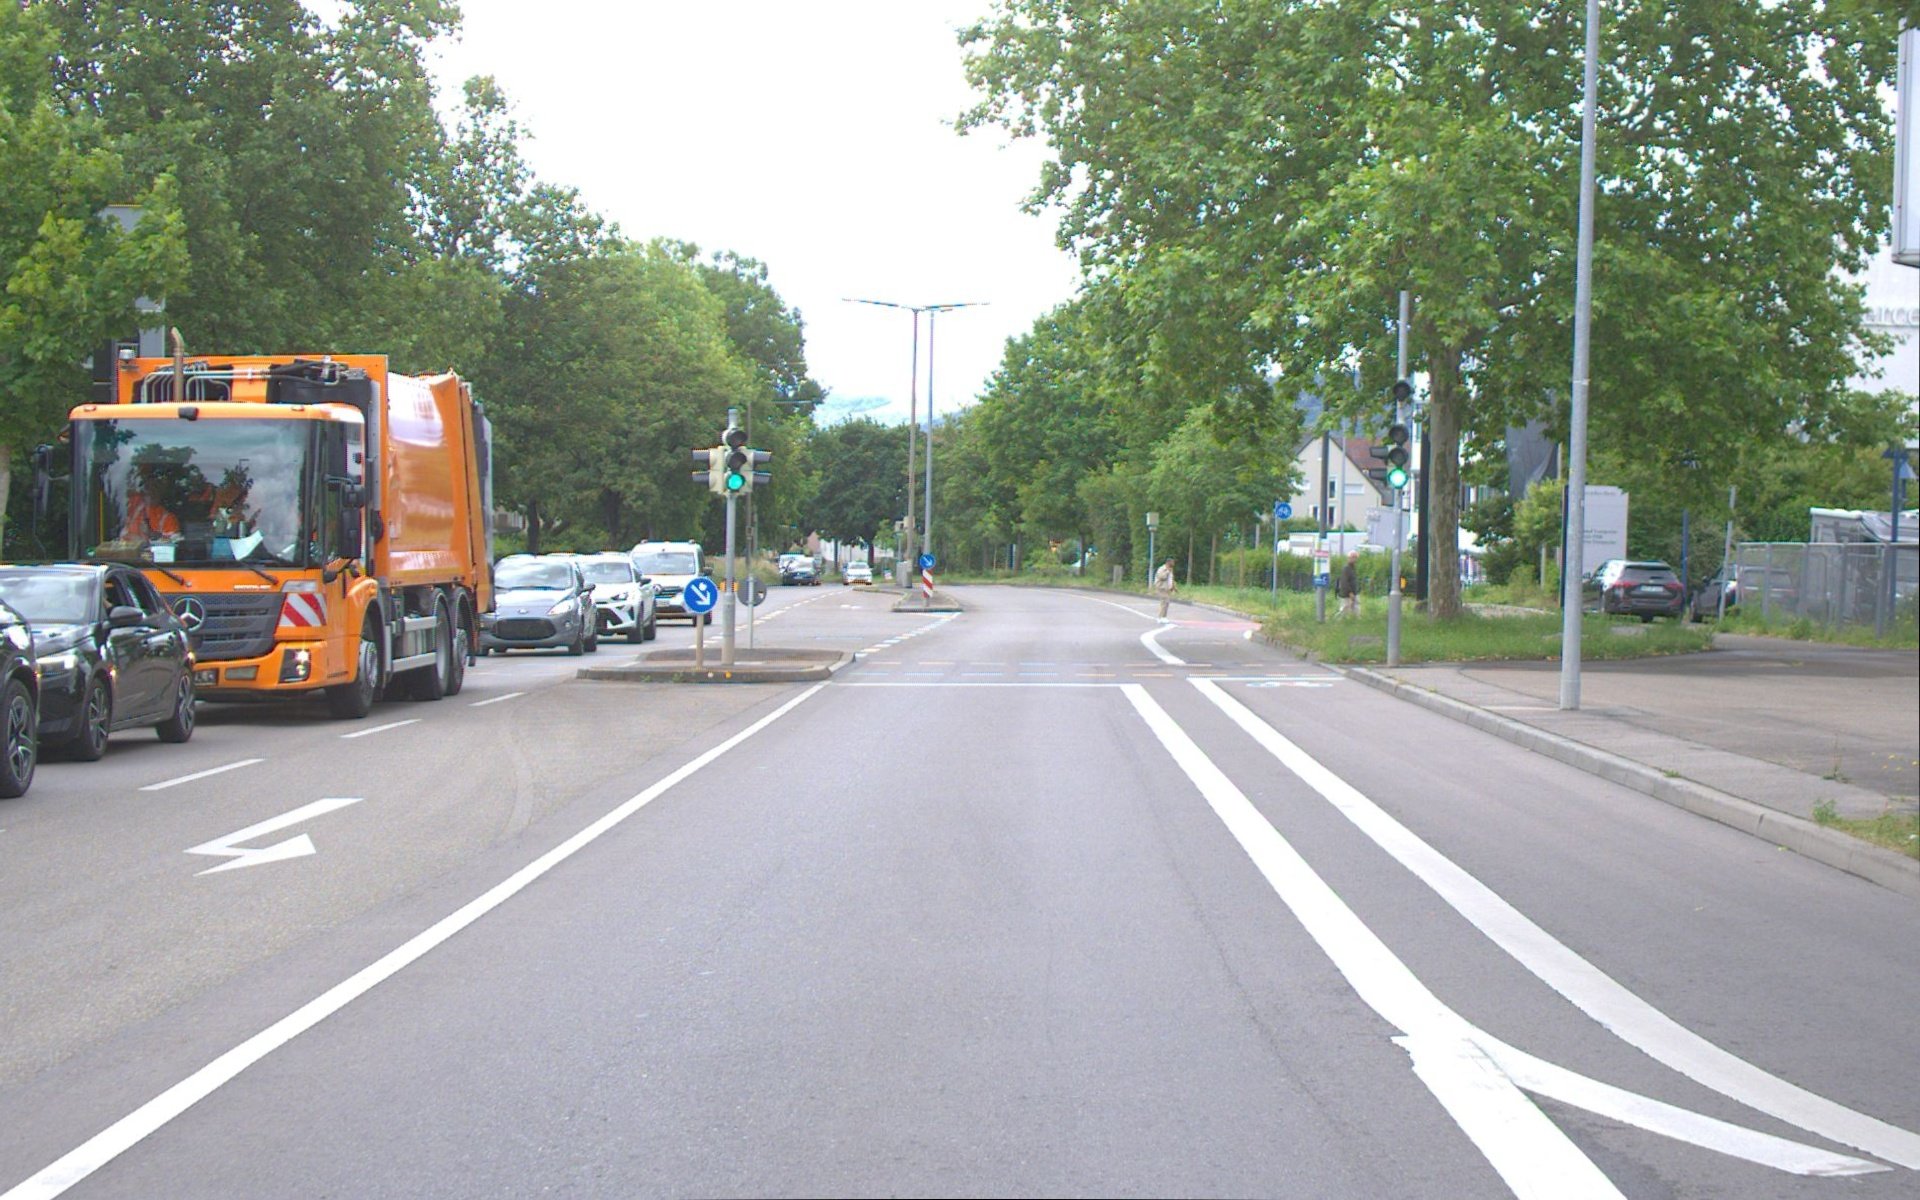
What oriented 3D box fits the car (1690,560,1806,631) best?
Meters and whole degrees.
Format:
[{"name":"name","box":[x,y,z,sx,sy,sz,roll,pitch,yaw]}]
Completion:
[{"name":"car","box":[18.225,-0.134,79.648,1.711,1.503,4.344,3,1,1]}]

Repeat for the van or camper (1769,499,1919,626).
[{"name":"van or camper","box":[21.003,-0.901,81.196,1.965,2.858,6.920,1,1,-1]}]

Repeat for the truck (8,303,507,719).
[{"name":"truck","box":[-6.623,-0.868,34.172,2.706,3.475,9.995,1,1,1]}]

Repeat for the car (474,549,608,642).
[{"name":"car","box":[-6.281,-0.096,51.817,1.547,1.326,3.654,-1,1,0]}]

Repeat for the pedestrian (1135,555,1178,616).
[{"name":"pedestrian","box":[4.714,-0.354,82.421,0.788,1.458,0.749,0,1,-18]}]

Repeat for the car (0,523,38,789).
[{"name":"car","box":[-6.518,0.349,19.146,1.639,1.580,4.061,1,1,0]}]

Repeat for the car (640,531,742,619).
[{"name":"car","box":[-5.746,-0.551,73.976,1.846,1.797,4.651,-1,1,-1]}]

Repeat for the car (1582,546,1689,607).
[{"name":"car","box":[15.565,-0.570,79.371,1.710,1.349,4.344,1,1,1]}]

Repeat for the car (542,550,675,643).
[{"name":"car","box":[-6.087,-0.089,59.923,1.846,1.515,4.816,-1,1,-1]}]

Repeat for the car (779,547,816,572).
[{"name":"car","box":[-8.786,-2.207,186.159,1.771,1.300,4.000,1,1,0]}]

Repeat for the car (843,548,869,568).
[{"name":"car","box":[-7.105,-2.859,234.291,1.612,1.300,4.000,1,1,0]}]

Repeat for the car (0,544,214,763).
[{"name":"car","box":[-6.706,0.335,25.555,1.434,1.452,3.895,1,1,0]}]
